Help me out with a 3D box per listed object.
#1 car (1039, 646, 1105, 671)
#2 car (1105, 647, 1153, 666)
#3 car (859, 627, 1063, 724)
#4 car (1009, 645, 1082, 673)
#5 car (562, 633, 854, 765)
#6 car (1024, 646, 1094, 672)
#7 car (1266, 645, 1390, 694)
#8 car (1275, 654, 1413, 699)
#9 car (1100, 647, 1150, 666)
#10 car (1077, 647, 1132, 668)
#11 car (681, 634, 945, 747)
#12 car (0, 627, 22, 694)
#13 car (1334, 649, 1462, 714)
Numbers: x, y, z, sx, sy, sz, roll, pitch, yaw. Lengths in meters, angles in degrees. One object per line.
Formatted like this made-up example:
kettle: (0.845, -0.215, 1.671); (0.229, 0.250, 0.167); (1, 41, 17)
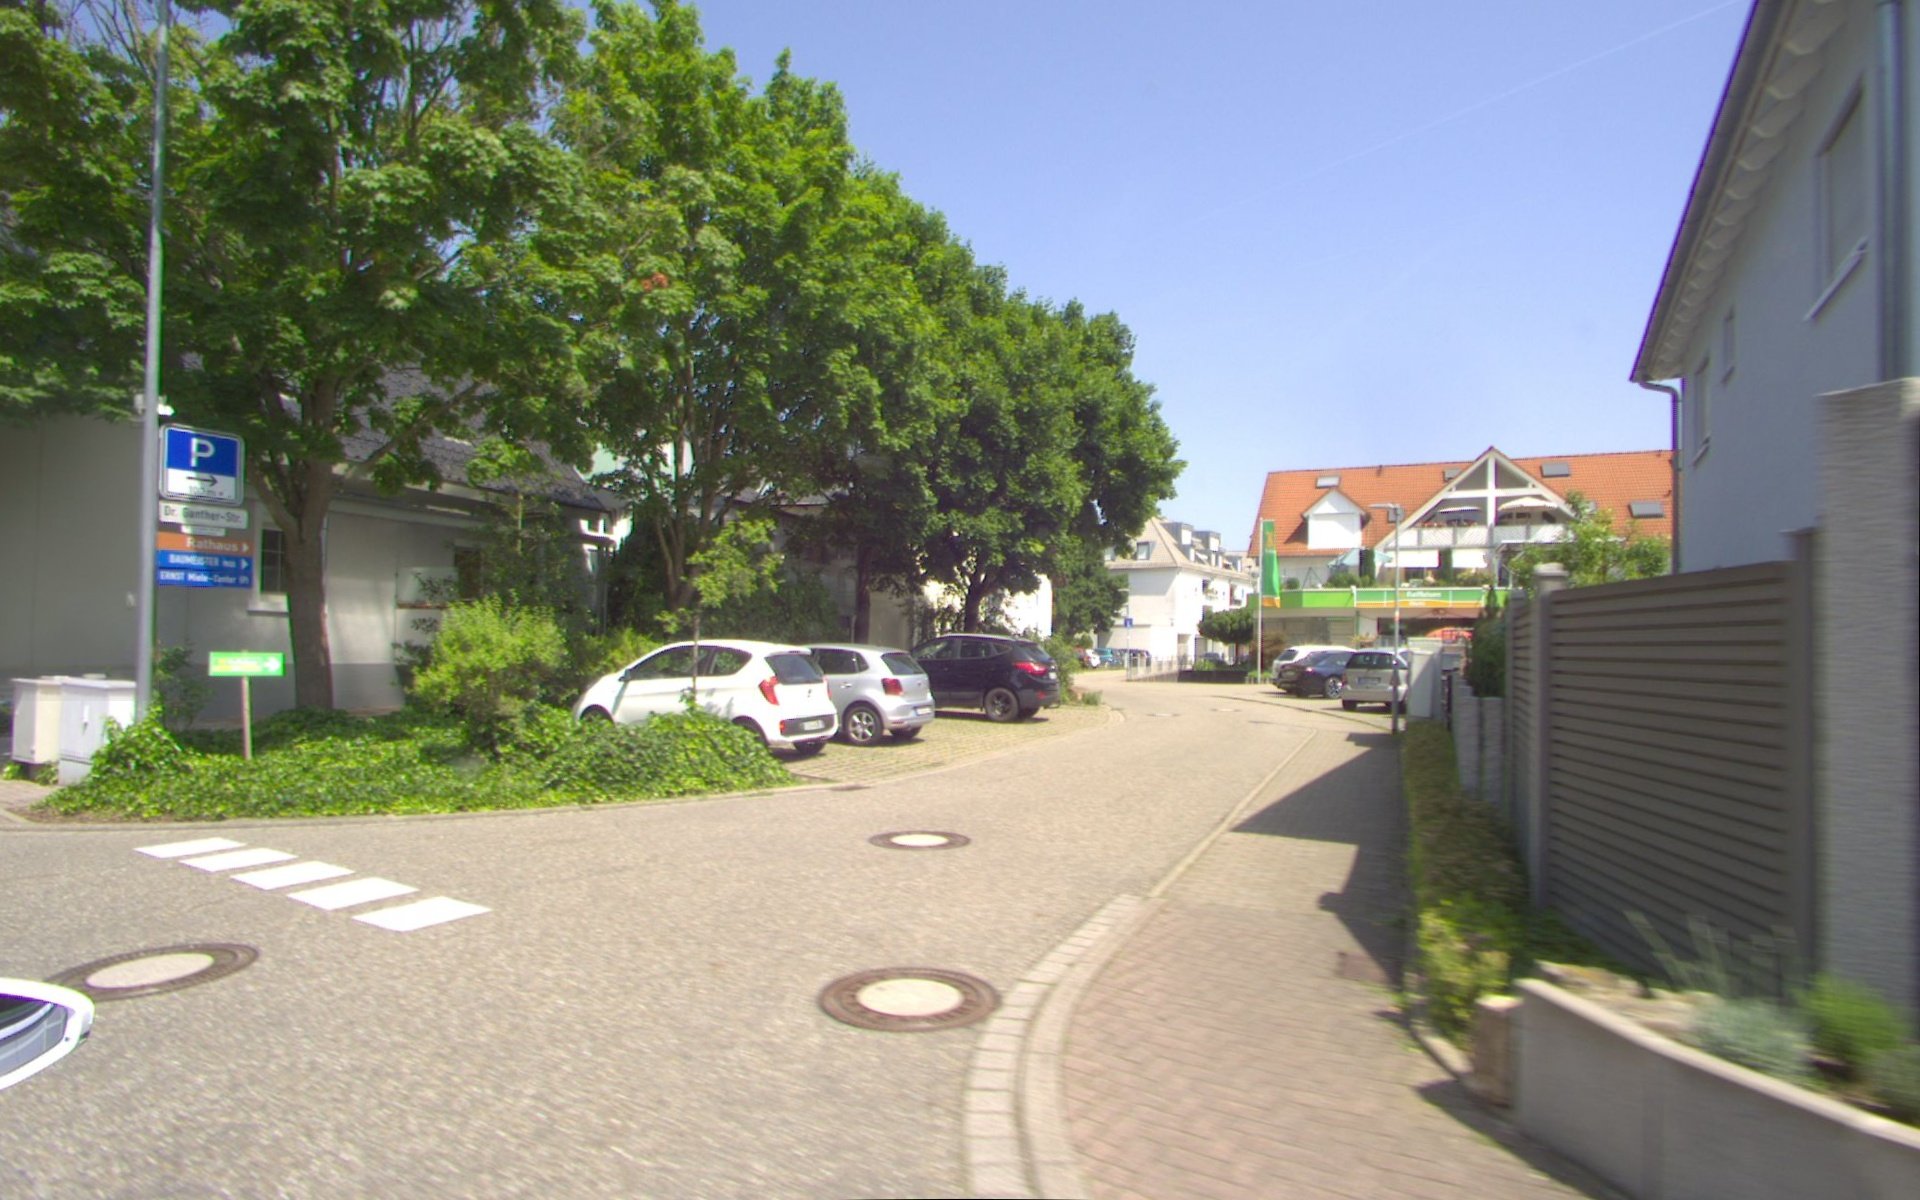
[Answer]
car: (7.640, 3.969, 68.143); (4.151, 1.629, 1.811); (-1, -2, 20)
car: (15.584, 5.195, 92.164); (4.151, 1.629, 1.811); (-1, -2, 20)
car: (0.030, 1.481, 20.349); (3.796, 1.705, 1.594); (1, -2, 20)
car: (5.212, 3.600, 60.911); (4.151, 1.629, 1.811); (-1, -2, 20)
car: (-3.354, 1.234, 13.330); (3.507, 1.463, 1.593); (1, -2, 24)
car: (6.343, 3.751, 63.855); (4.151, 1.629, 1.811); (-1, -2, 20)
car: (13.076, 2.468, 35.616); (3.931, 1.620, 1.700); (2, -2, -18)
car: (12.371, 2.468, 32.335); (3.929, 1.323, 1.701); (2, -1, -16)
car: (14.822, 5.075, 89.809); (4.151, 1.629, 1.811); (-1, -2, 20)
car: (11.716, 4.634, 81.205); (4.151, 1.629, 1.811); (-1, -2, 20)
car: (-2.302, 1.342, 15.687); (3.798, 1.492, 1.593); (1, -2, 23)
car: (-20.490, 1.200, 19.427); (1.399, 1.362, 3.045); (-1, -2, 23)
car: (11.438, 2.053, 26.020); (1.686, 1.520, 4.060); (0, -2, 45)
